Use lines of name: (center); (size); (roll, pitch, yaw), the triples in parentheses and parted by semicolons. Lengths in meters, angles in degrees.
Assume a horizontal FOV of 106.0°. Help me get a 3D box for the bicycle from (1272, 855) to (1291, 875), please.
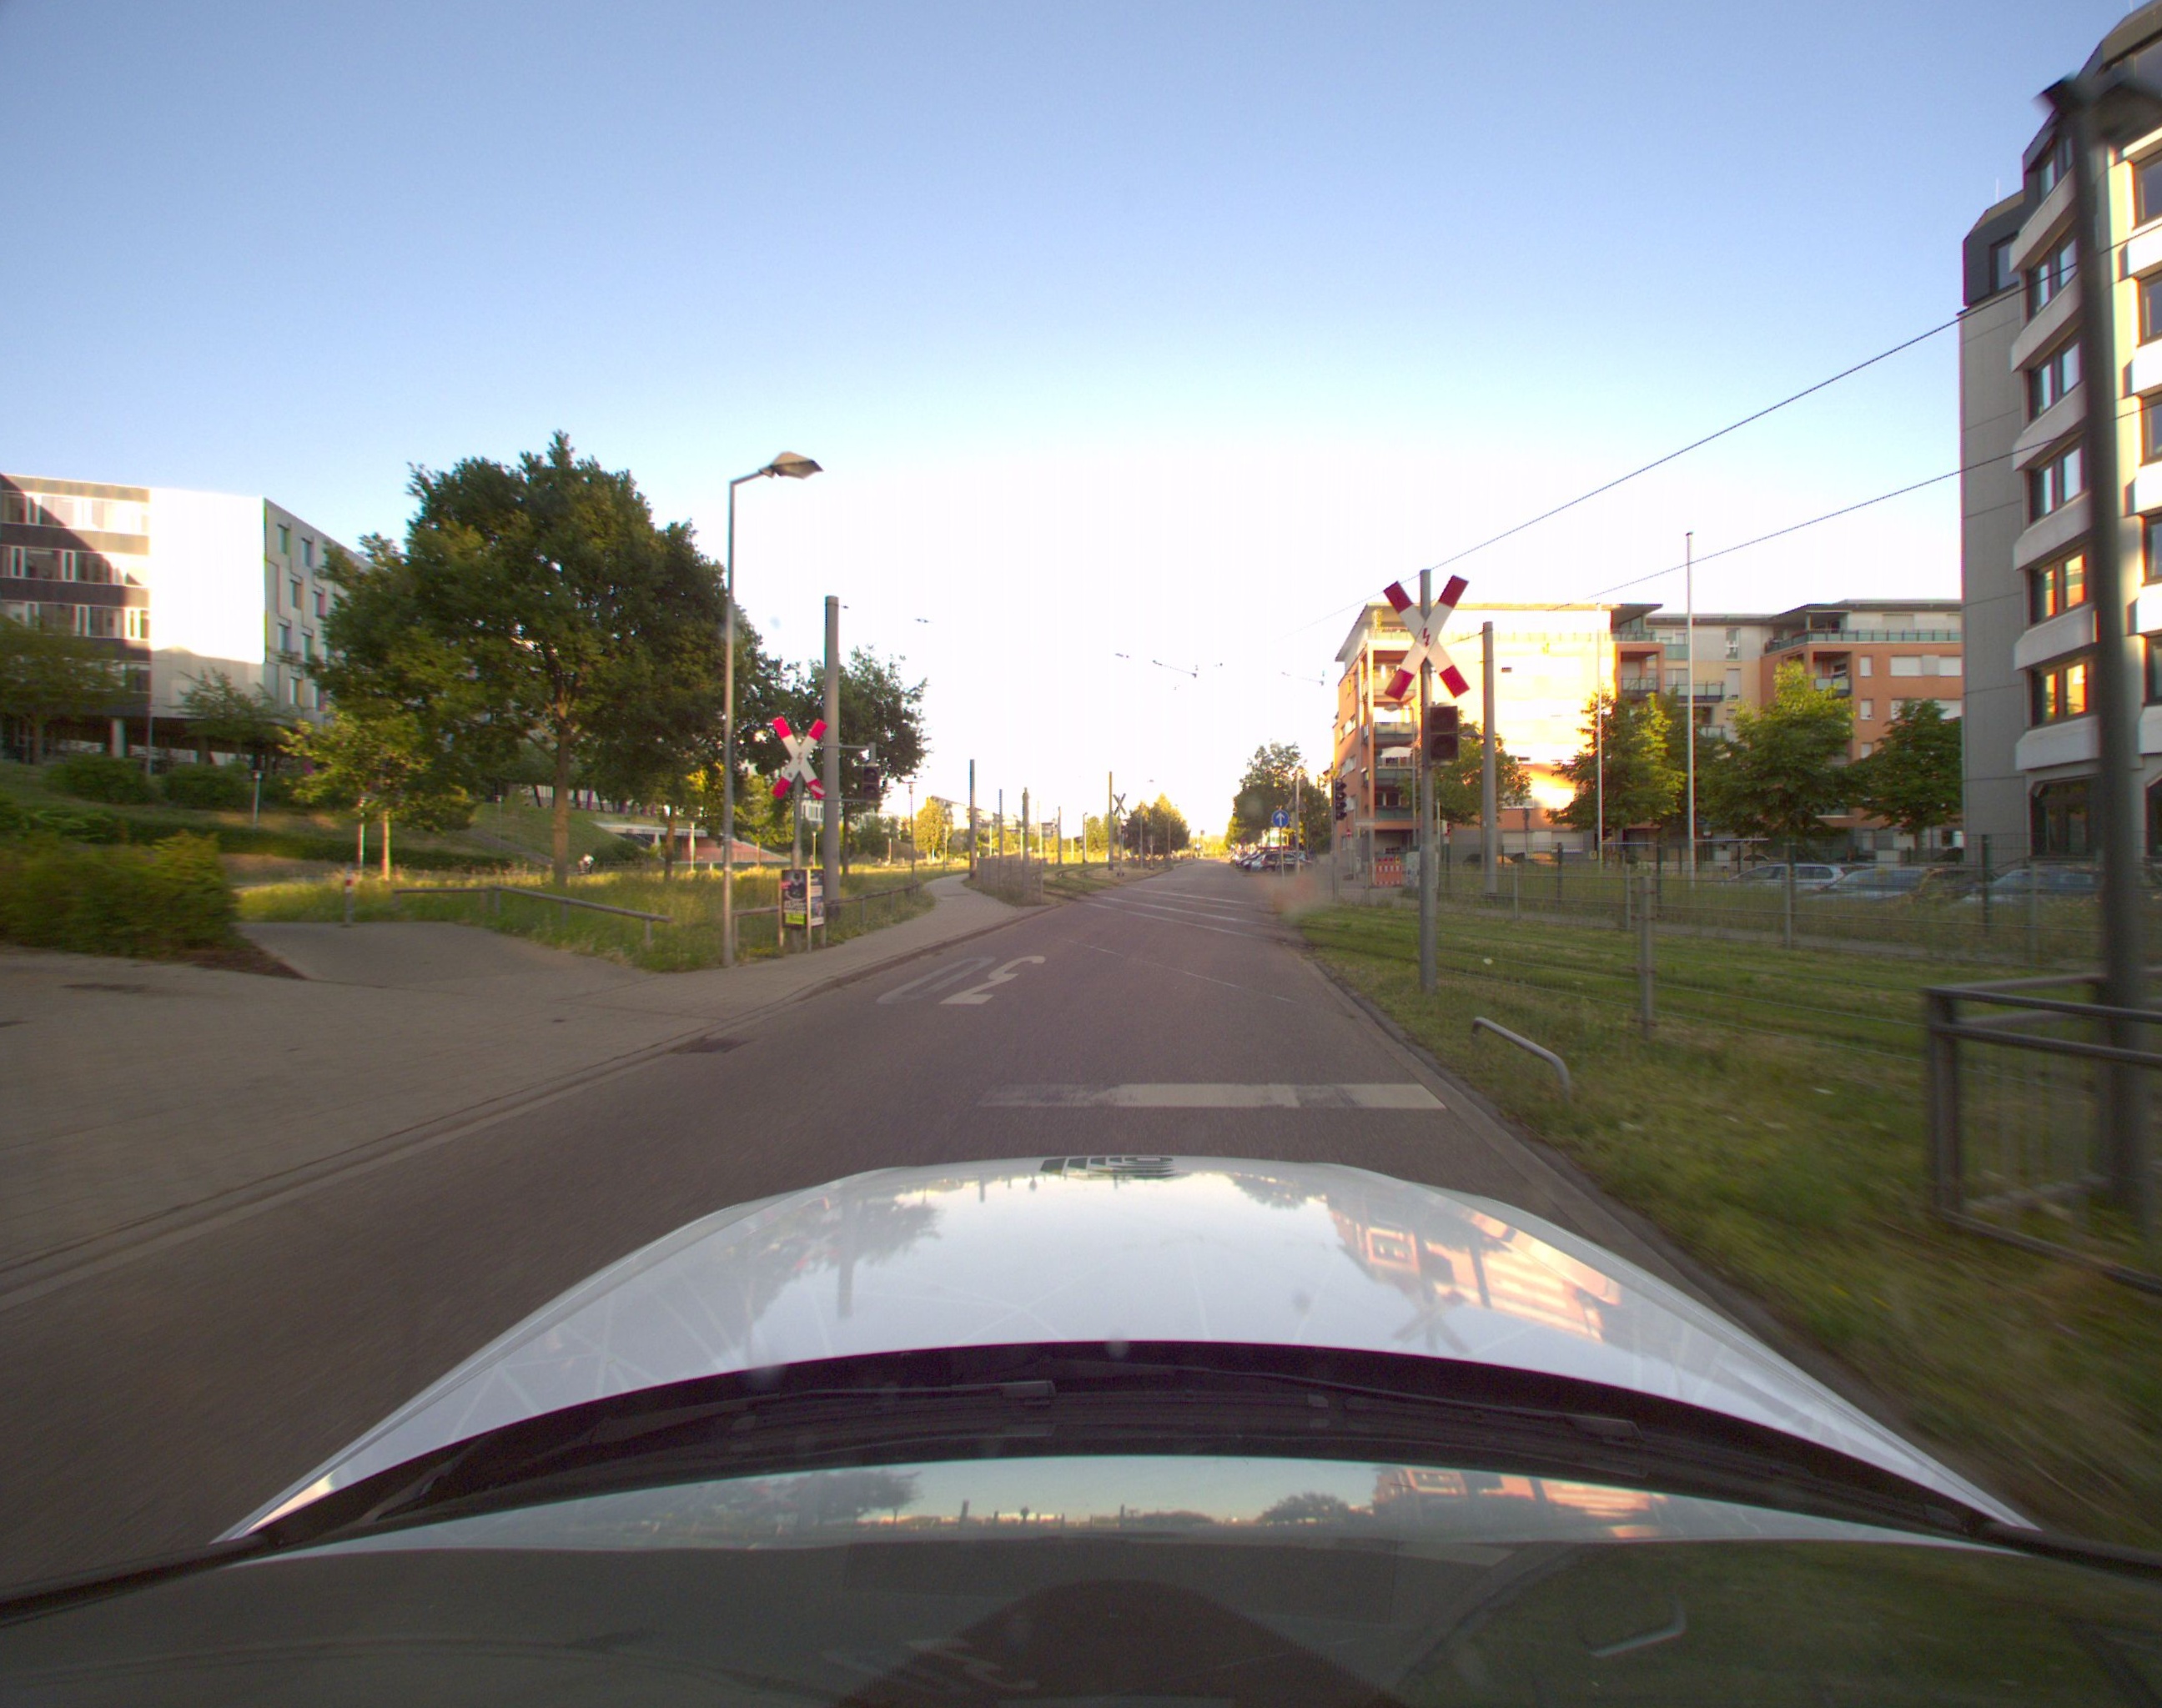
bicycle: (12.867, 0.696, 52.349); (0.714, 1.152, 1.898); (-2, 2, -1)

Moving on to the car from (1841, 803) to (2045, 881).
car: (24.425, -0.314, 23.332); (1.982, 2.013, 4.010); (0, 0, 9)

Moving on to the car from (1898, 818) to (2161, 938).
car: (17.869, 0.391, 15.130); (3.991, 2.013, 1.991); (0, 0, -13)

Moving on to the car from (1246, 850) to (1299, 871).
car: (14.546, 0.475, 62.144); (3.853, 1.569, 1.624); (0, 0, 9)

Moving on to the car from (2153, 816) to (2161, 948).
car: (18.690, 0.421, 12.043); (3.991, 2.013, 1.991); (0, 0, -13)

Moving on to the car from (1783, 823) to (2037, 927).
car: (17.492, 0.400, 17.266); (3.991, 2.013, 1.991); (0, 0, -13)

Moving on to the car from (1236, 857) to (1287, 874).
car: (17.135, 1.097, 77.518); (4.642, 1.556, 1.816); (-1, 0, 8)

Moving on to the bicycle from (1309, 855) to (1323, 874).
bicycle: (15.145, 0.676, 52.525); (0.526, 1.126, 1.967); (1, 1, 8)

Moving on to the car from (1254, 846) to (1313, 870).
car: (14.692, 0.306, 59.312); (4.025, 1.569, 1.677); (-2, 0, 9)

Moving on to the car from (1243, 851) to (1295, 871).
car: (15.914, 0.599, 69.173); (4.190, 1.569, 1.797); (-2, -1, 9)

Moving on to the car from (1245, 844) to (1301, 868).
car: (17.466, 0.154, 74.277); (4.888, 2.117, 2.023); (-1, 0, 10)

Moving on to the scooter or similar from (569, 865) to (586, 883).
scooter or similar: (-35.708, 1.418, 57.713); (0.612, 1.244, 0.792); (1, 0, 8)

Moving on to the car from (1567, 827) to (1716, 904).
car: (15.963, 0.304, 23.464); (1.982, 2.013, 4.010); (0, 0, 9)

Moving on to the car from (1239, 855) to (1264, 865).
car: (27.222, 0.942, 130.107); (3.781, 1.508, 1.682); (-1, 0, 7)

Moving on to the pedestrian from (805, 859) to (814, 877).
pedestrian: (-30.897, 1.595, 92.794); (0.612, 2.082, 0.792); (1, 0, 8)

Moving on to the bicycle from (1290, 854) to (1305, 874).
bicycle: (13.868, 0.618, 52.182); (0.675, 1.152, 1.932); (-2, 1, 8)

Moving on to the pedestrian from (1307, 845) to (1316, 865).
pedestrian: (20.750, 0.087, 73.215); (0.664, 1.743, 0.701); (-1, 0, 9)

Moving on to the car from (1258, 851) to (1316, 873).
car: (14.372, 0.562, 56.938); (3.731, 1.473, 1.615); (0, 0, 5)

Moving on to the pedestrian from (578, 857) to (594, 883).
pedestrian: (-35.632, 1.125, 58.637); (0.612, 1.836, 0.792); (1, 0, 8)
